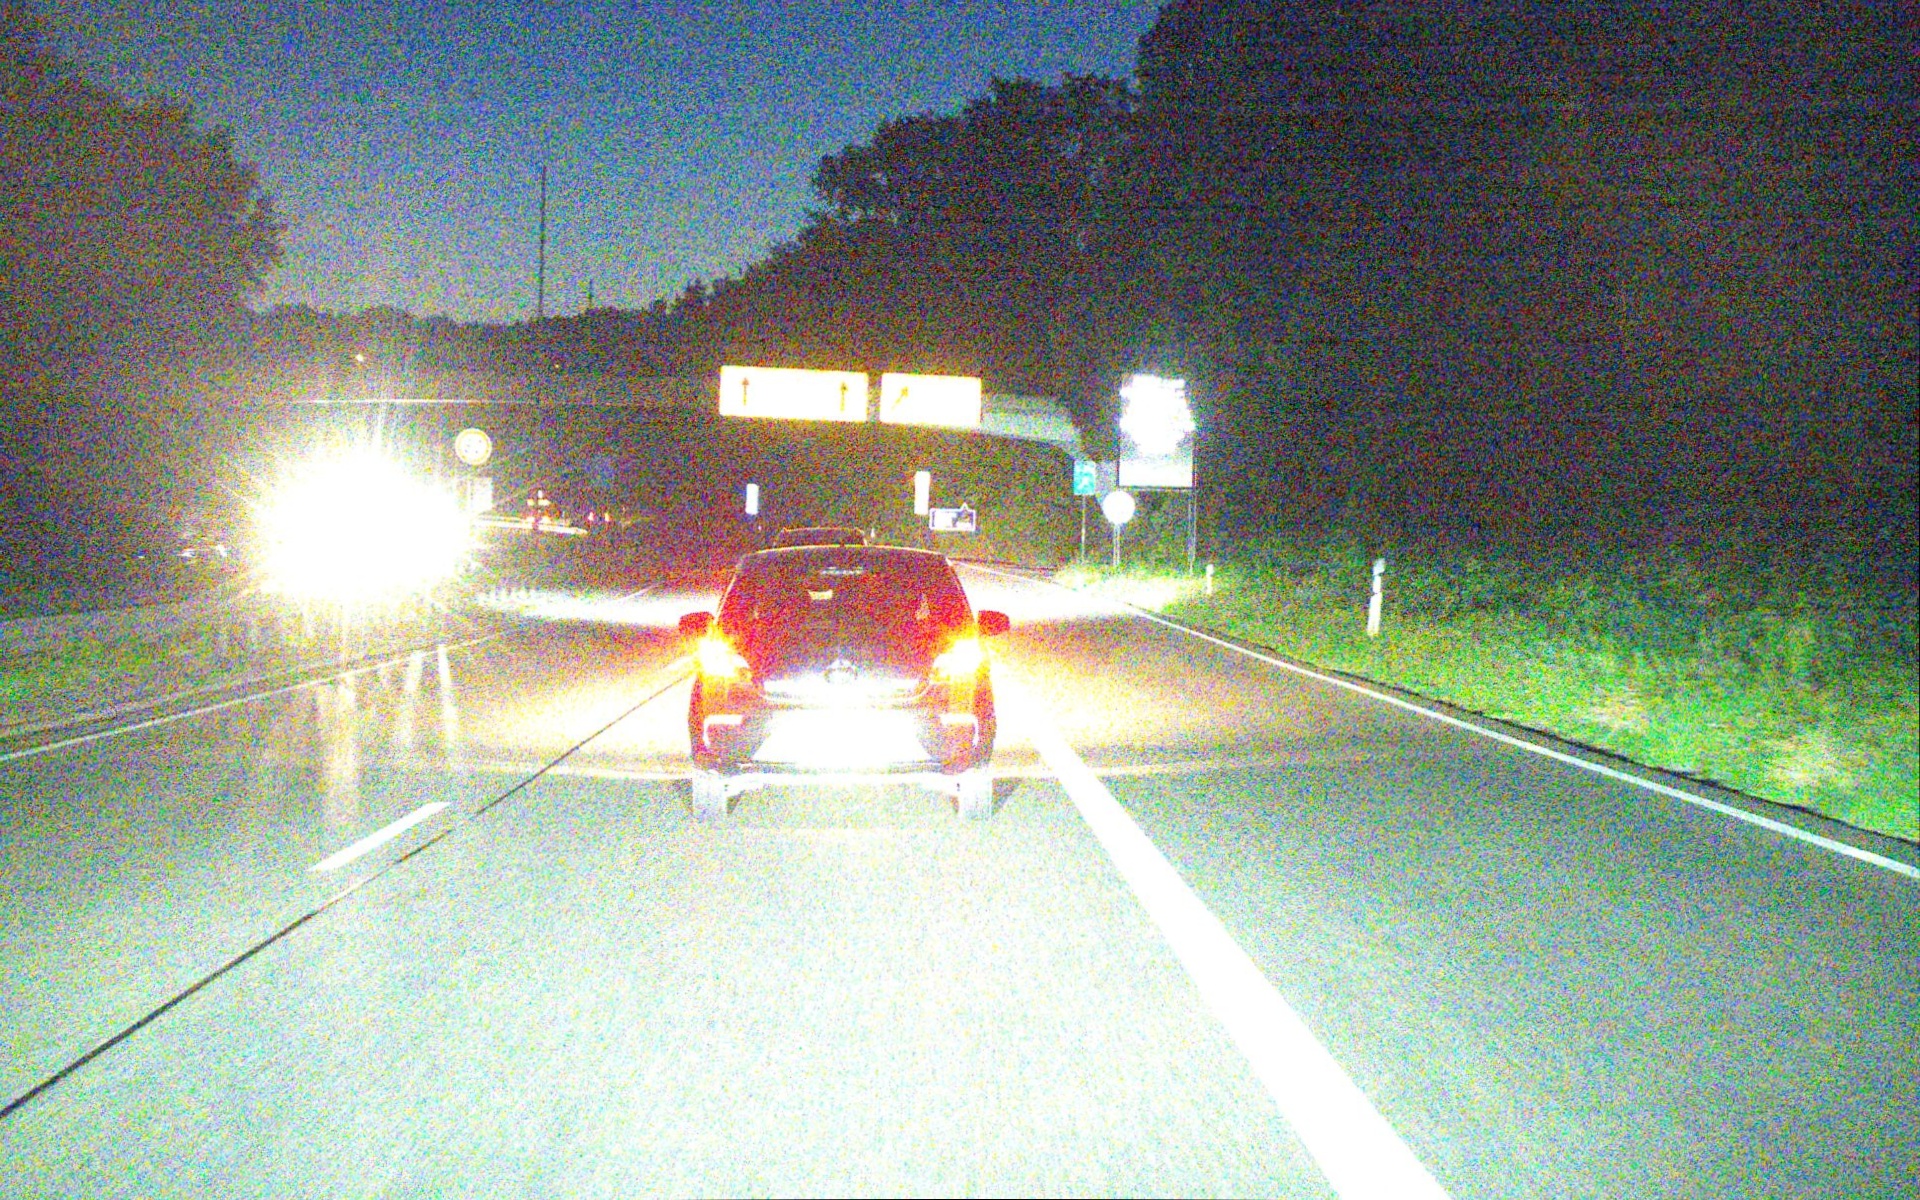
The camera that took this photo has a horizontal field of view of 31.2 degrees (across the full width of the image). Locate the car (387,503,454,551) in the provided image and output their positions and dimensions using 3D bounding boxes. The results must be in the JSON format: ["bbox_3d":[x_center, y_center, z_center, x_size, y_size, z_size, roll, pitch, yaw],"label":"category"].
[{"bbox_3d":[-20.859,-2.823,133.025,1.967,1.757,5.033,1,1,-2],"label":"car"}]

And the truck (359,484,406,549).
[{"bbox_3d":[-40.372,-5.836,240.140,2.625,4.218,8.598,4,1,-12],"label":"truck"}]

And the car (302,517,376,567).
[{"bbox_3d":[-19.663,-1.838,108.979,1.728,1.512,4.159,1,1,-2],"label":"car"}]

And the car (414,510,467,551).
[{"bbox_3d":[-26.362,-3.547,174.543,2.361,2.007,5.034,1,1,-6],"label":"car"}]

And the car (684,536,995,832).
[{"bbox_3d":[-0.714,0.390,19.540,1.588,1.503,4.001,0,1,-3],"label":"car"}]

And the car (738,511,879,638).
[{"bbox_3d":[-2.204,-0.413,50.622,1.906,1.692,4.001,3,1,-2],"label":"car"}]
